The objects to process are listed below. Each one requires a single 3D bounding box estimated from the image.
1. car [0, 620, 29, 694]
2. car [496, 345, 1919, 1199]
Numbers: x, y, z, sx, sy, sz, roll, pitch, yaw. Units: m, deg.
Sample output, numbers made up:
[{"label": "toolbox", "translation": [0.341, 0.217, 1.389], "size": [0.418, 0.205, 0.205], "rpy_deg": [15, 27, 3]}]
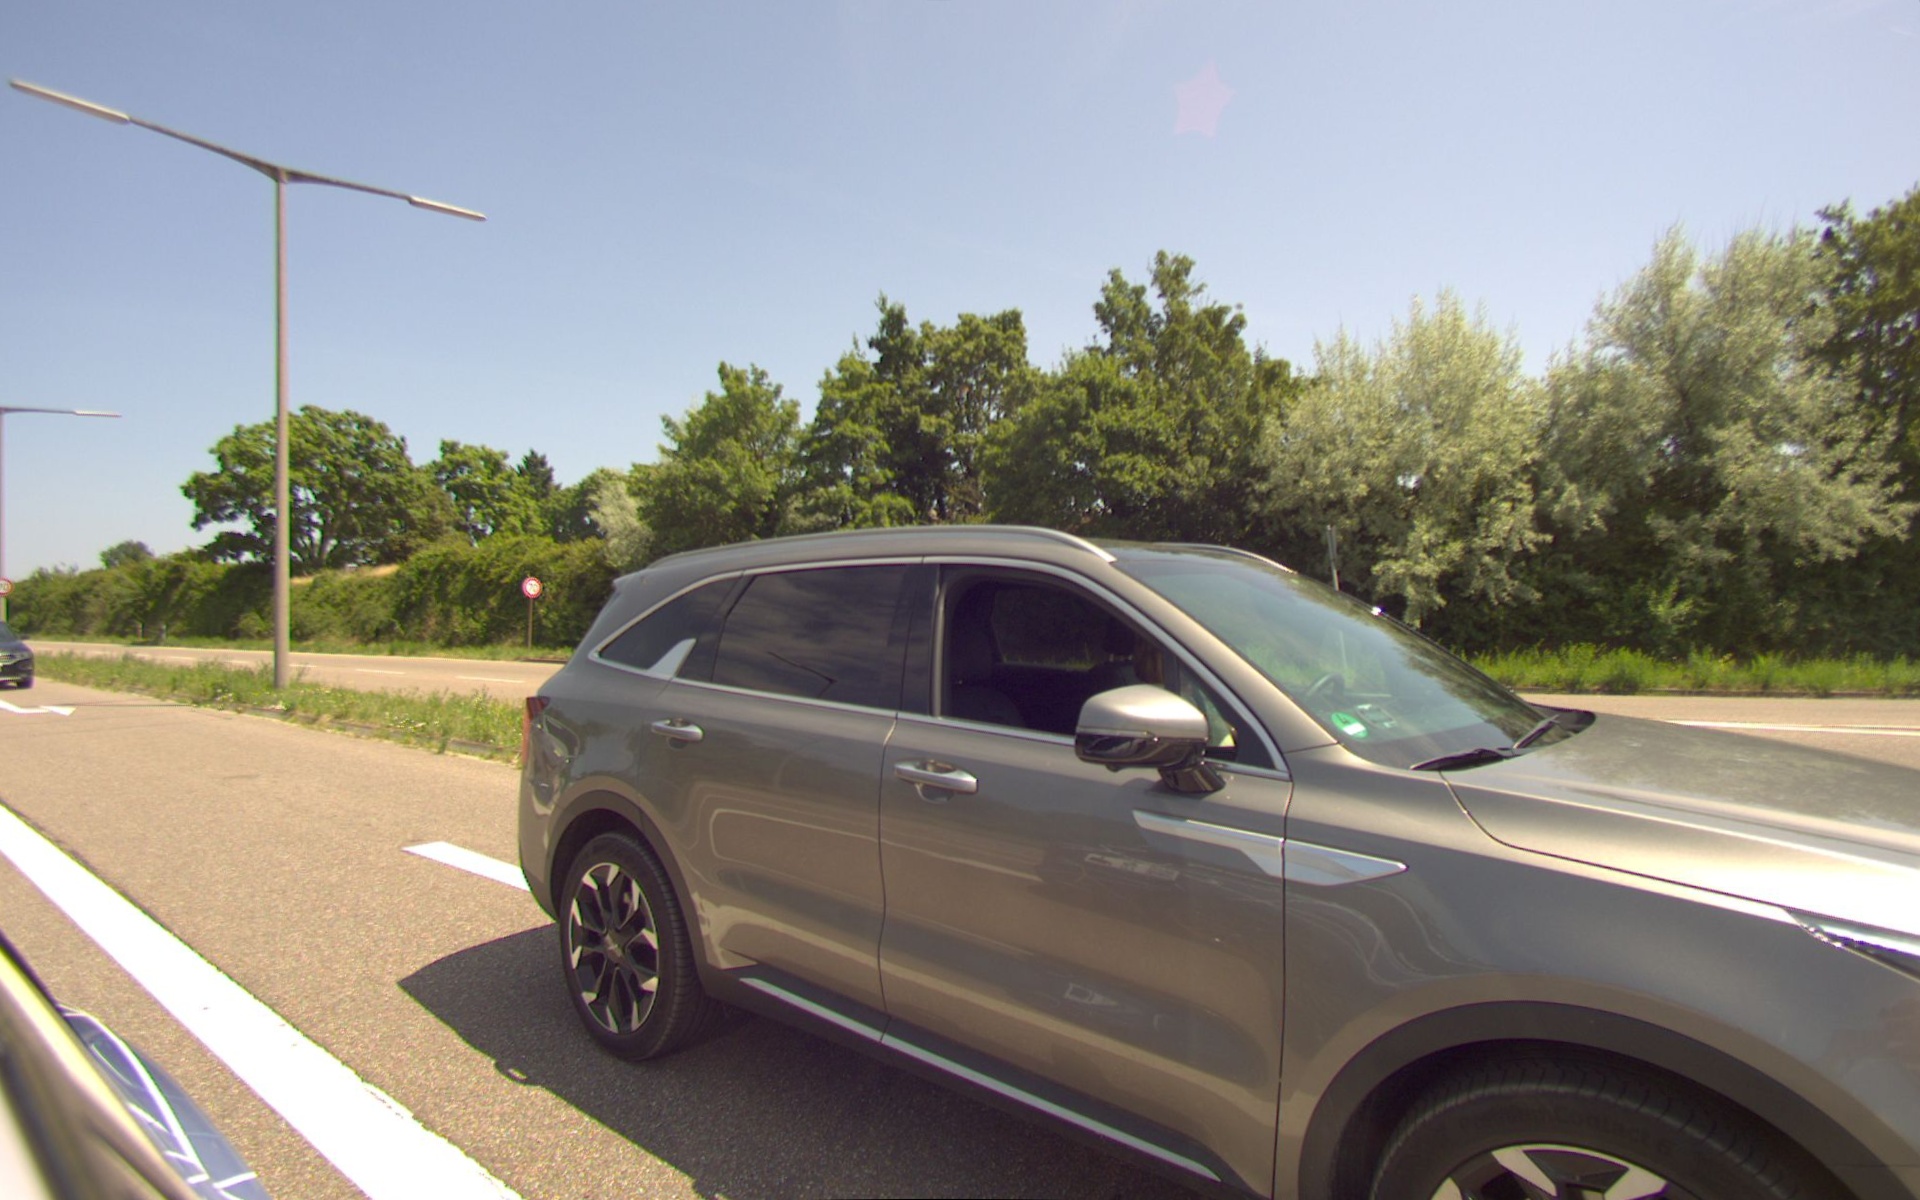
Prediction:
[{"label": "car", "translation": [-21.618, 1.214, 21.872], "size": [3.997, 1.511, 1.731], "rpy_deg": [-2, -1, 40]}, {"label": "car", "translation": [0.561, 0.558, 2.980], "size": [4.528, 1.681, 1.762], "rpy_deg": [-2, -2, 40]}]
